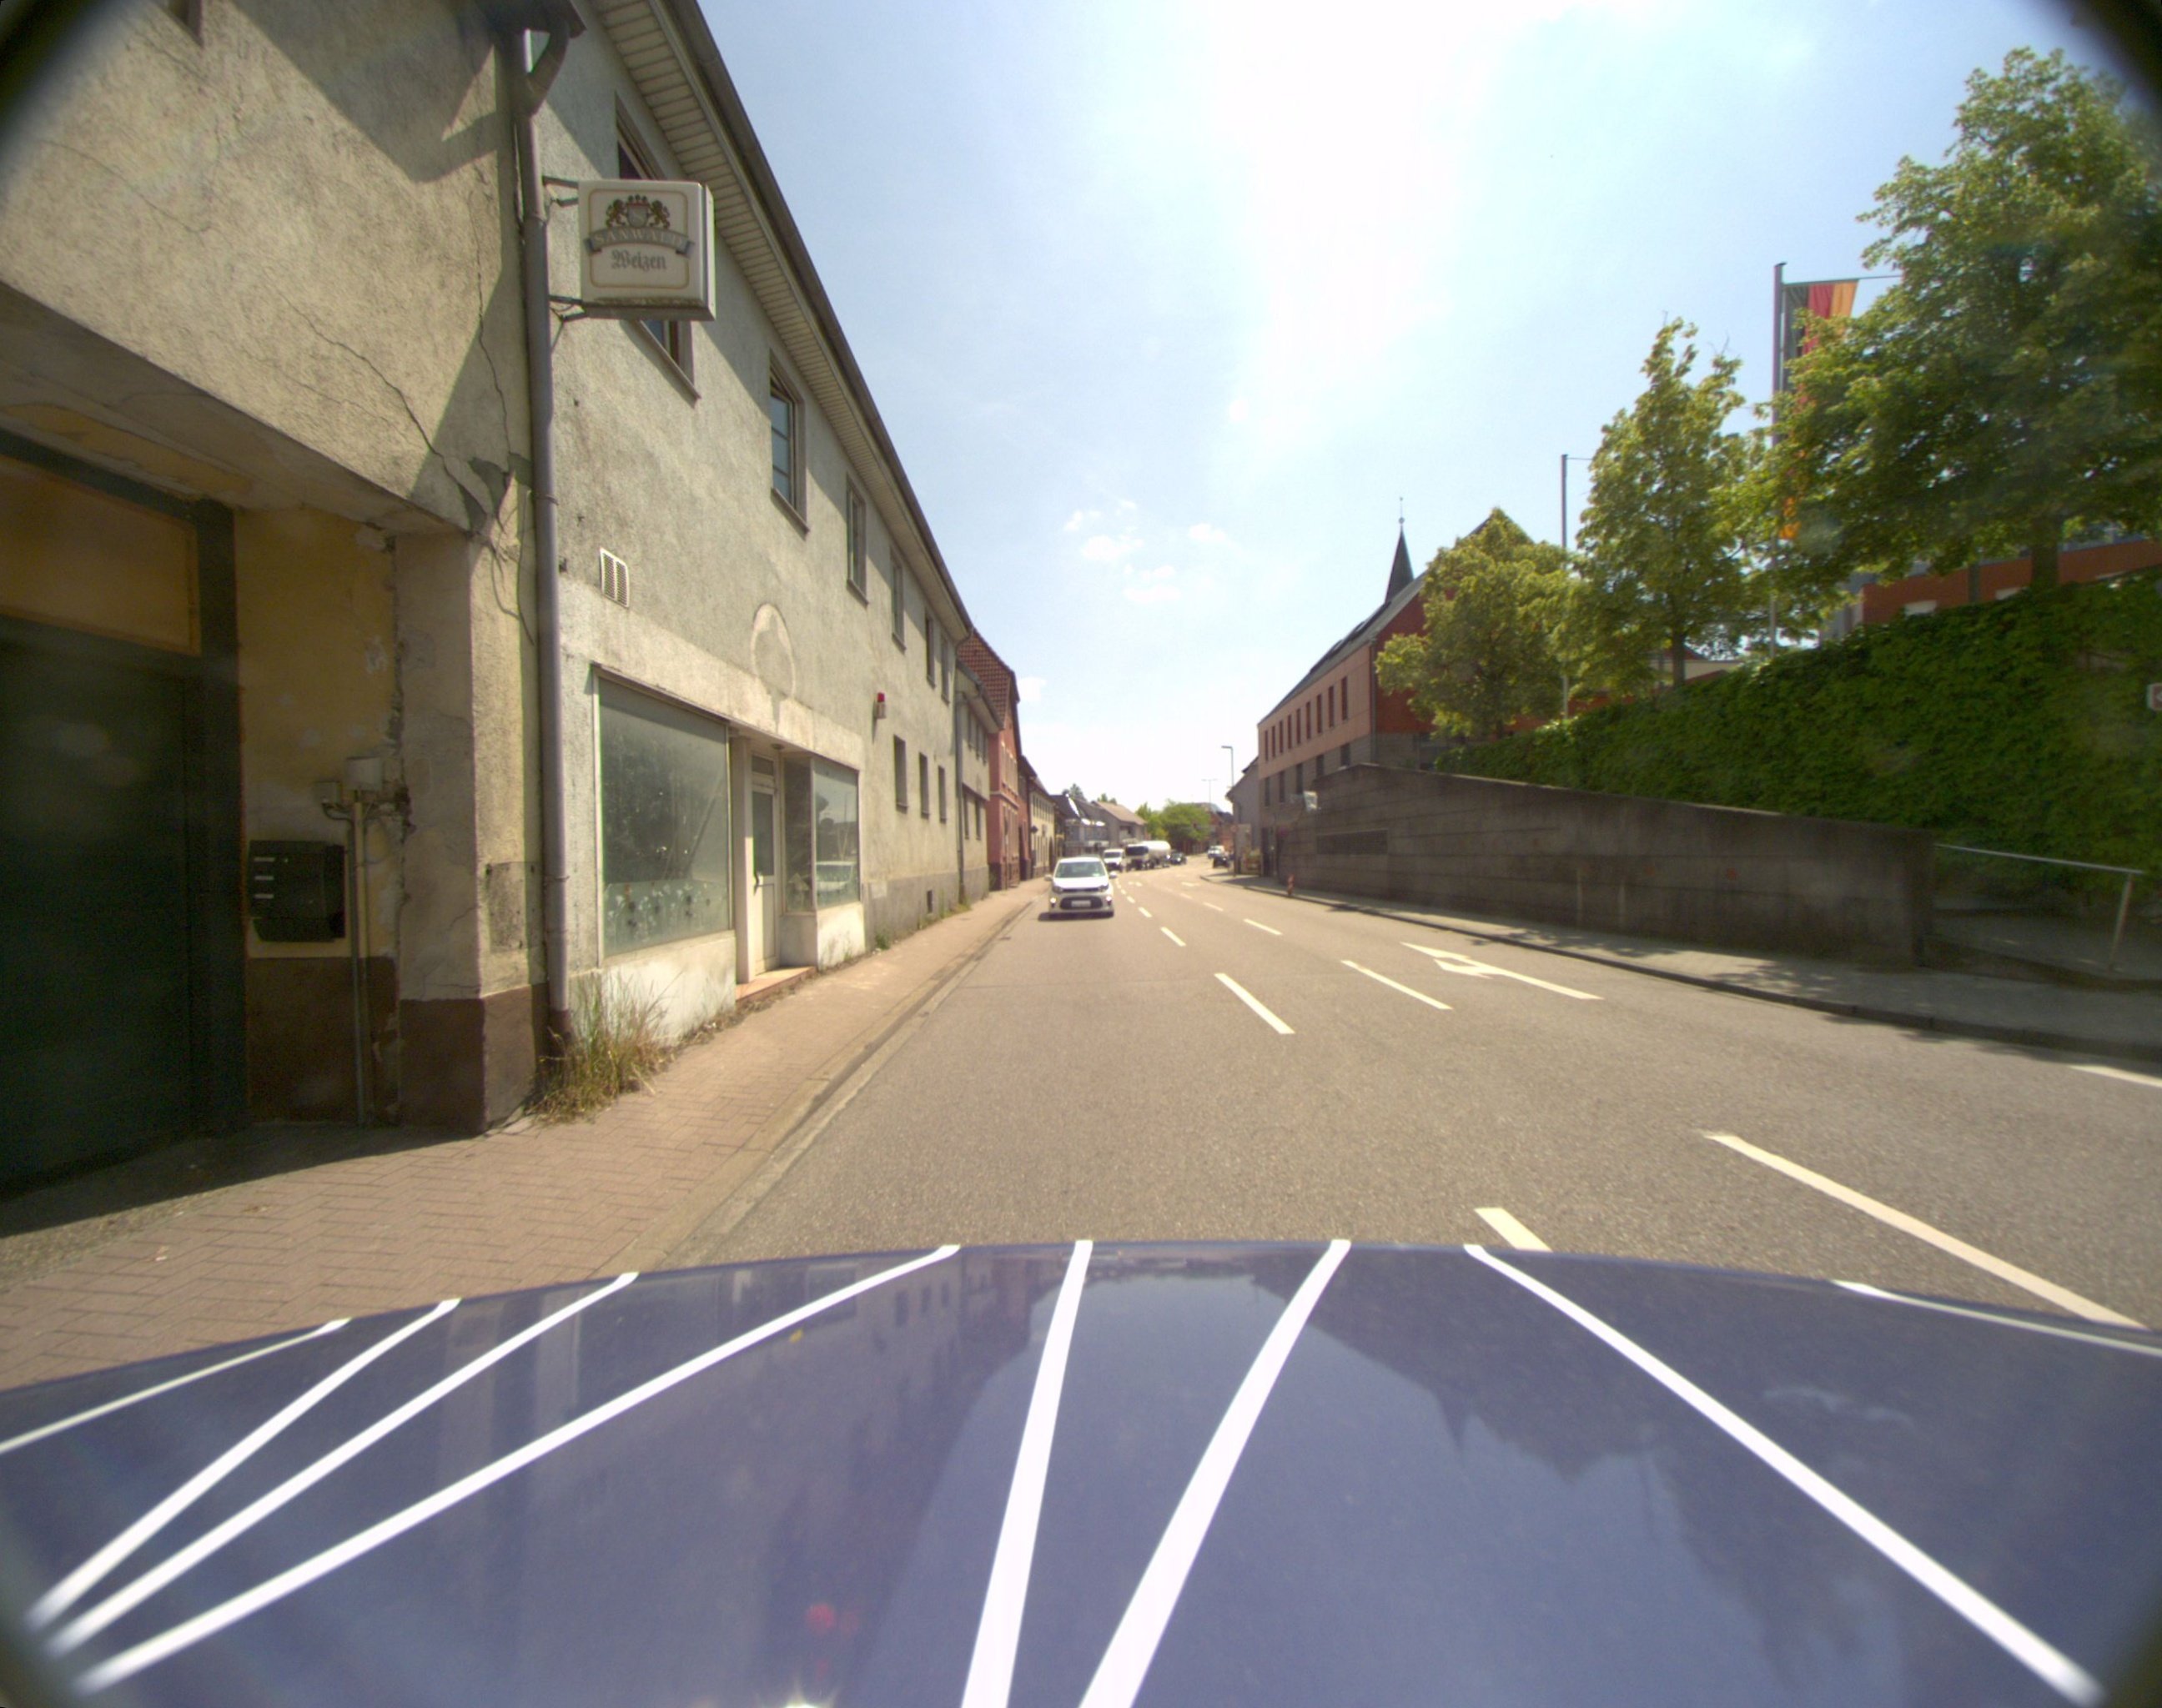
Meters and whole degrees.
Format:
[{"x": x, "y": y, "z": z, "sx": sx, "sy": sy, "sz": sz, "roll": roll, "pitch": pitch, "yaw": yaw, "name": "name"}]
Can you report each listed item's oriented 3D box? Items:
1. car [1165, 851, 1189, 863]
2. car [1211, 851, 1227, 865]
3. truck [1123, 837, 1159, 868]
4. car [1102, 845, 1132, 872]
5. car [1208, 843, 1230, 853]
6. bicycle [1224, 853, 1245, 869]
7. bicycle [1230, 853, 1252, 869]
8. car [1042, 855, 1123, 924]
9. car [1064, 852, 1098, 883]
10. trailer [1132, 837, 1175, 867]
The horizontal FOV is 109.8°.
[{"x": 13.623, "y": 0.412, "z": 107.366, "sx": 2.008, "sy": 1.621, "sz": 4.585, "roll": -1, "pitch": 0, "yaw": 24, "name": "car"}, {"x": 17.090, "y": 0.448, "z": 93.948, "sx": 1.672, "sy": 1.648, "sz": 4.022, "roll": -1, "pitch": 0, "yaw": 14, "name": "car"}, {"x": 7.107, "y": -0.164, "z": 89.150, "sx": 2.844, "sy": 3.549, "sz": 5.475, "roll": -1, "pitch": 0, "yaw": 18, "name": "truck"}, {"x": 3.559, "y": 0.415, "z": 74.924, "sx": 2.173, "sy": 2.549, "sz": 4.828, "roll": -1, "pitch": 0, "yaw": 12, "name": "car"}, {"x": 23.064, "y": -1.025, "z": 126.956, "sx": 2.007, "sy": 1.621, "sz": 4.587, "roll": -1, "pitch": 0, "yaw": 34, "name": "car"}, {"x": 13.235, "y": 0.588, "z": 65.322, "sx": 1.834, "sy": 1.241, "sz": 0.577, "roll": -3, "pitch": -1, "yaw": -34, "name": "bicycle"}, {"x": 13.660, "y": 0.574, "z": 64.827, "sx": 1.834, "sy": 1.241, "sz": 0.577, "roll": -3, "pitch": -1, "yaw": -34, "name": "bicycle"}, {"x": 0.146, "y": 0.840, "z": 20.037, "sx": 1.724, "sy": 1.541, "sz": 4.304, "roll": -3, "pitch": 0, "yaw": 4, "name": "car"}, {"x": 0.009, "y": 0.729, "z": 42.459, "sx": 1.724, "sy": 1.541, "sz": 4.303, "roll": -3, "pitch": 0, "yaw": 1, "name": "car"}, {"x": 9.278, "y": -0.271, "z": 95.656, "sx": 2.834, "sy": 3.549, "sz": 10.980, "roll": -1, "pitch": 0, "yaw": 19, "name": "trailer"}]
